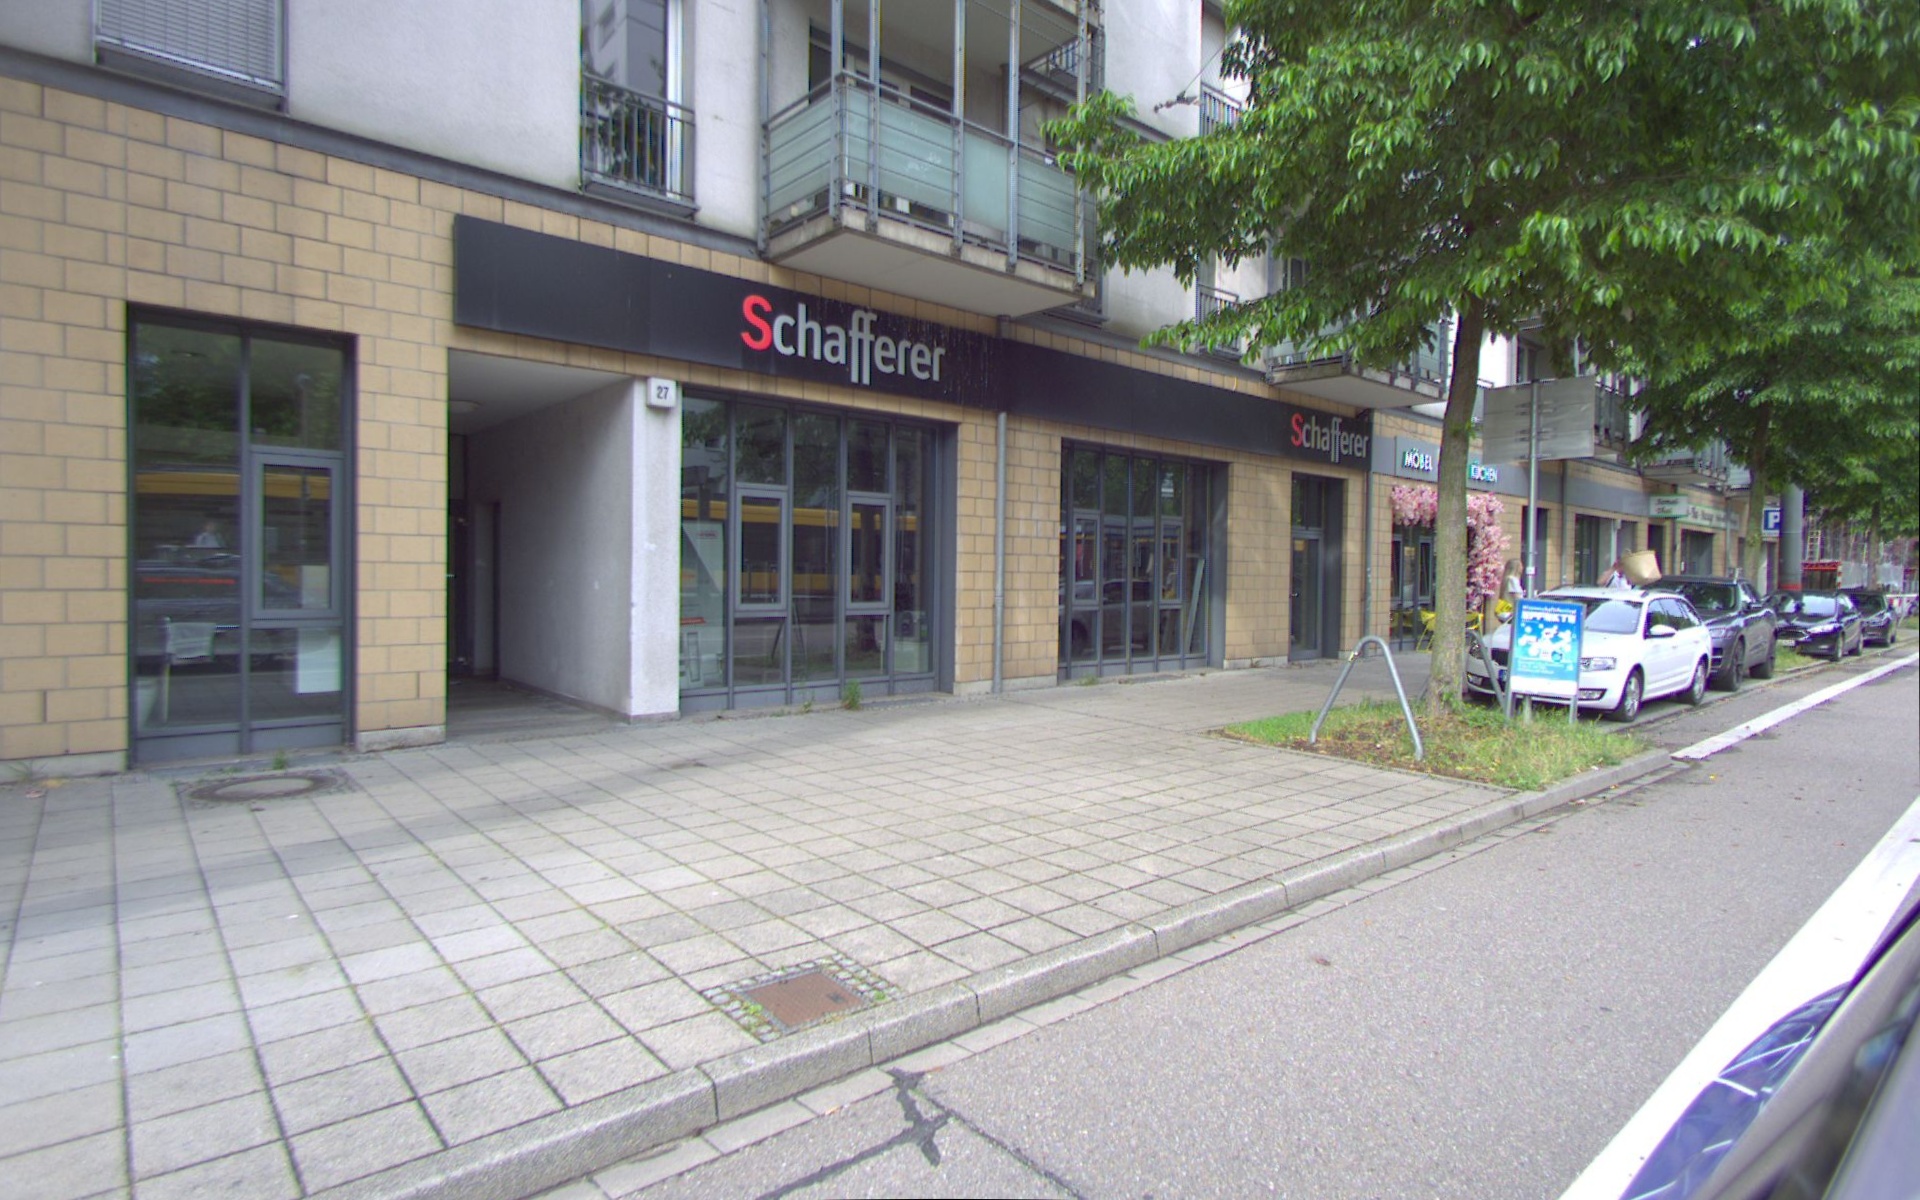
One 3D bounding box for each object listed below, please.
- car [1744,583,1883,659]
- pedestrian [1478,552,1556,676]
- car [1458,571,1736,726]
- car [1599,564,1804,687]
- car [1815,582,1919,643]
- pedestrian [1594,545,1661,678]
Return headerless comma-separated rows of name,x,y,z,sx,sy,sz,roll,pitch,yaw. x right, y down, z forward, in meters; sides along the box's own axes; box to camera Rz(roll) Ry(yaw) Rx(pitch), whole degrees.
car,18.638,0.385,22.042,4.095,1.394,1.612,-1,5,-41
pedestrian,8.056,0.188,14.662,0.724,1.738,0.618,1,2,0
car,8.125,0.475,12.753,4.233,1.539,1.738,-1,5,-41
car,11.798,0.318,16.026,3.732,1.630,1.738,-1,5,-41
car,24.159,0.286,26.868,3.603,1.417,1.612,-1,5,-41
pedestrian,9.779,0.152,14.839,0.648,1.907,0.596,1,1,18
